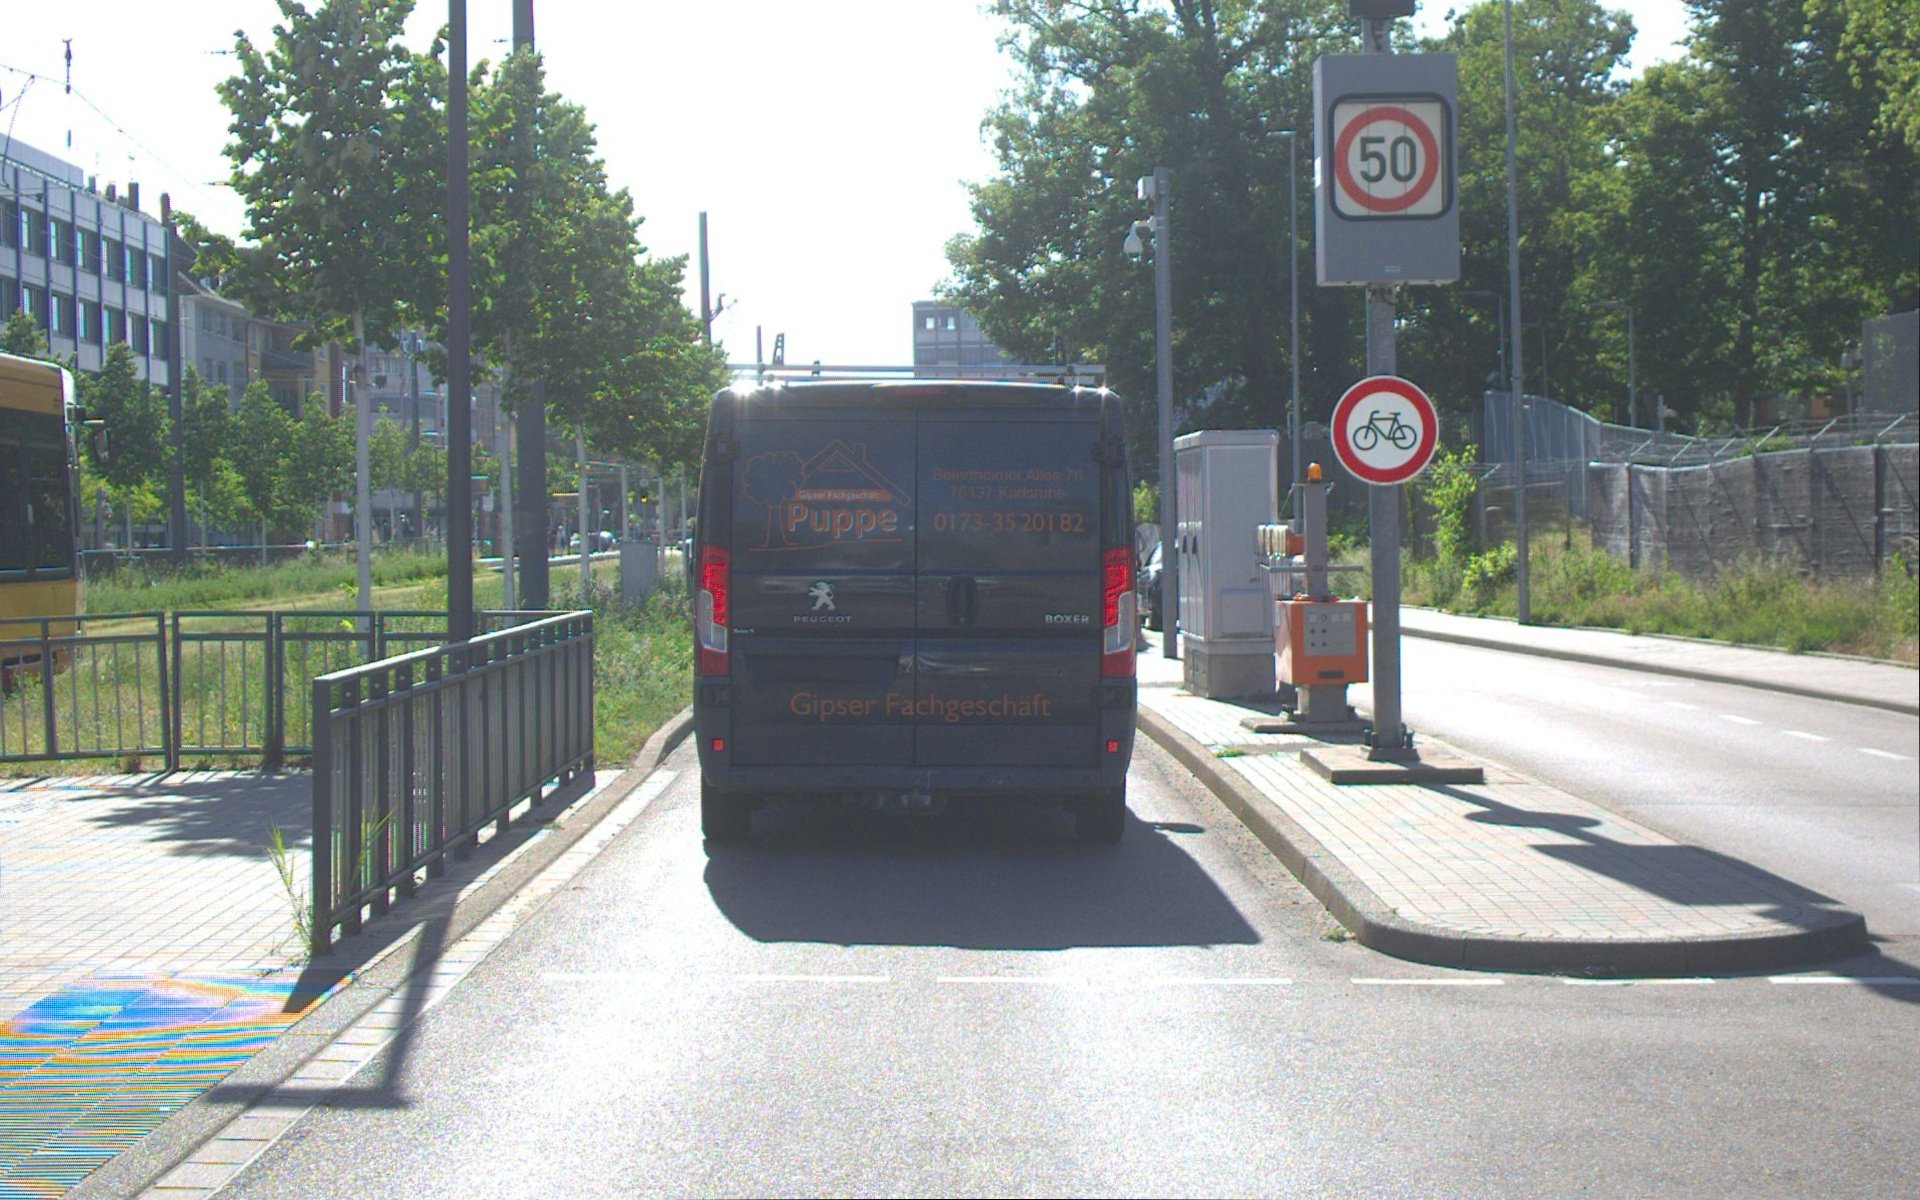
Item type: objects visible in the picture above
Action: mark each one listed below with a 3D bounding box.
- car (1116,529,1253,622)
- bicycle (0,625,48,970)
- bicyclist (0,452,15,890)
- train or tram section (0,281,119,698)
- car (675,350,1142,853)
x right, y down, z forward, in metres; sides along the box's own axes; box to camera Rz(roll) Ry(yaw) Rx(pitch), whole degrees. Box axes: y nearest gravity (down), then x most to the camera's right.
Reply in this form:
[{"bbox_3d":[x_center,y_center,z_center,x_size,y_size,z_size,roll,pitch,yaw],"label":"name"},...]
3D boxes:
[{"bbox_3d":[3.611,-0.431,55.941,1.763,1.457,4.001,0,1,-3],"label":"car"},{"bbox_3d":[-3.753,0.627,11.870,0.732,1.087,2.083,0,1,-27],"label":"bicycle"},{"bbox_3d":[-3.785,0.241,11.972,0.826,1.507,0.730,0,1,-26],"label":"bicyclist"},{"bbox_3d":[-9.408,-0.946,28.918,1.993,3.656,11.685,0,1,-1],"label":"train or tram section"},{"bbox_3d":[-0.288,-0.032,17.325,2.082,2.241,4.000,0,1,-2],"label":"car"}]
